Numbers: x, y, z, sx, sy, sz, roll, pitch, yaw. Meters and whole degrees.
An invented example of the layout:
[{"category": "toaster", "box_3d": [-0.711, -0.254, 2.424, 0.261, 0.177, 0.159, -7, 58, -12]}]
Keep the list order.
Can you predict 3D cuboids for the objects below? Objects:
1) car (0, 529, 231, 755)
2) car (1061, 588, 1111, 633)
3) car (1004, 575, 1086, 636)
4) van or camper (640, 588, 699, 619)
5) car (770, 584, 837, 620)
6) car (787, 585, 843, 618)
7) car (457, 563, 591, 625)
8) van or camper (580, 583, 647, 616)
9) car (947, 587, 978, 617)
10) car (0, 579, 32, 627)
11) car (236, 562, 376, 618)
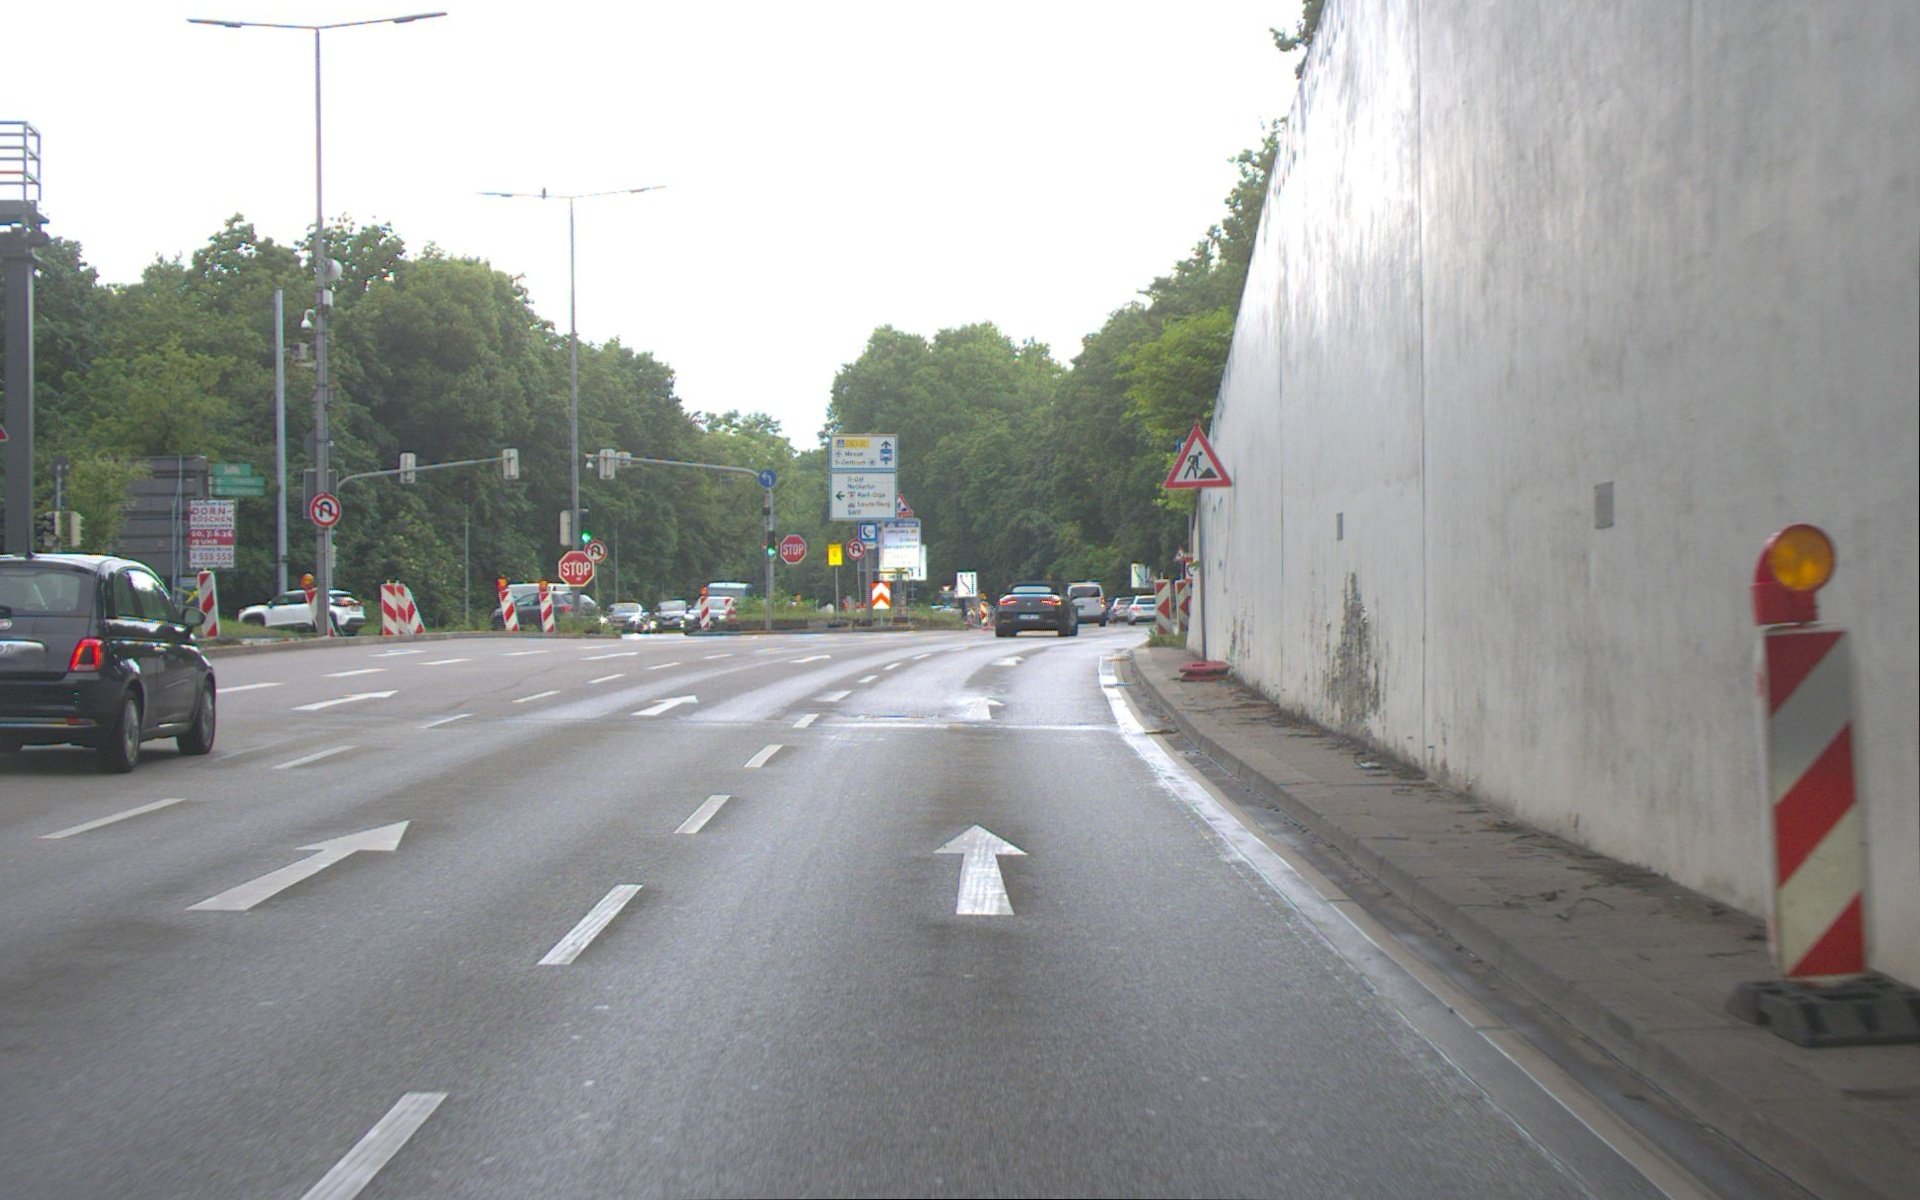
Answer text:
[{"category": "car", "box_3d": [-6.378, 0.243, 24.447, 1.612, 1.449, 3.573, 2, 1, 0]}, {"category": "car", "box_3d": [5.828, 0.501, 159.626, 1.993, 2.007, 4.000, 3, 0, -1]}, {"category": "car", "box_3d": [2.139, 0.165, 87.590, 1.993, 1.443, 4.314, 2, -1, 1]}, {"category": "van or camper", "box_3d": [-13.630, 0.174, 161.535, 2.009, 1.297, 4.090, 2, -1, 6]}, {"category": "car", "box_3d": [-6.309, 0.088, 138.992, 2.009, 1.297, 4.314, 2, -1, 6]}, {"category": "car", "box_3d": [-6.342, 0.086, 150.687, 2.009, 1.297, 4.315, 2, -1, 3]}, {"category": "car", "box_3d": [-13.412, -0.182, 105.700, 3.997, 1.678, 1.893, 3, 0, 43]}, {"category": "van or camper", "box_3d": [-14.889, -0.012, 147.833, 2.009, 1.297, 4.090, 2, -1, 6]}, {"category": "car", "box_3d": [0.184, 0.156, 242.755, 1.993, 2.007, 4.000, 3, 0, -1]}, {"category": "car", "box_3d": [-32.806, 0.056, 113.040, 3.987, 1.509, 1.898, 2, 1, 2]}, {"category": "car", "box_3d": [-21.118, -0.328, 111.044, 3.989, 1.678, 1.896, 2, 1, 14]}]
